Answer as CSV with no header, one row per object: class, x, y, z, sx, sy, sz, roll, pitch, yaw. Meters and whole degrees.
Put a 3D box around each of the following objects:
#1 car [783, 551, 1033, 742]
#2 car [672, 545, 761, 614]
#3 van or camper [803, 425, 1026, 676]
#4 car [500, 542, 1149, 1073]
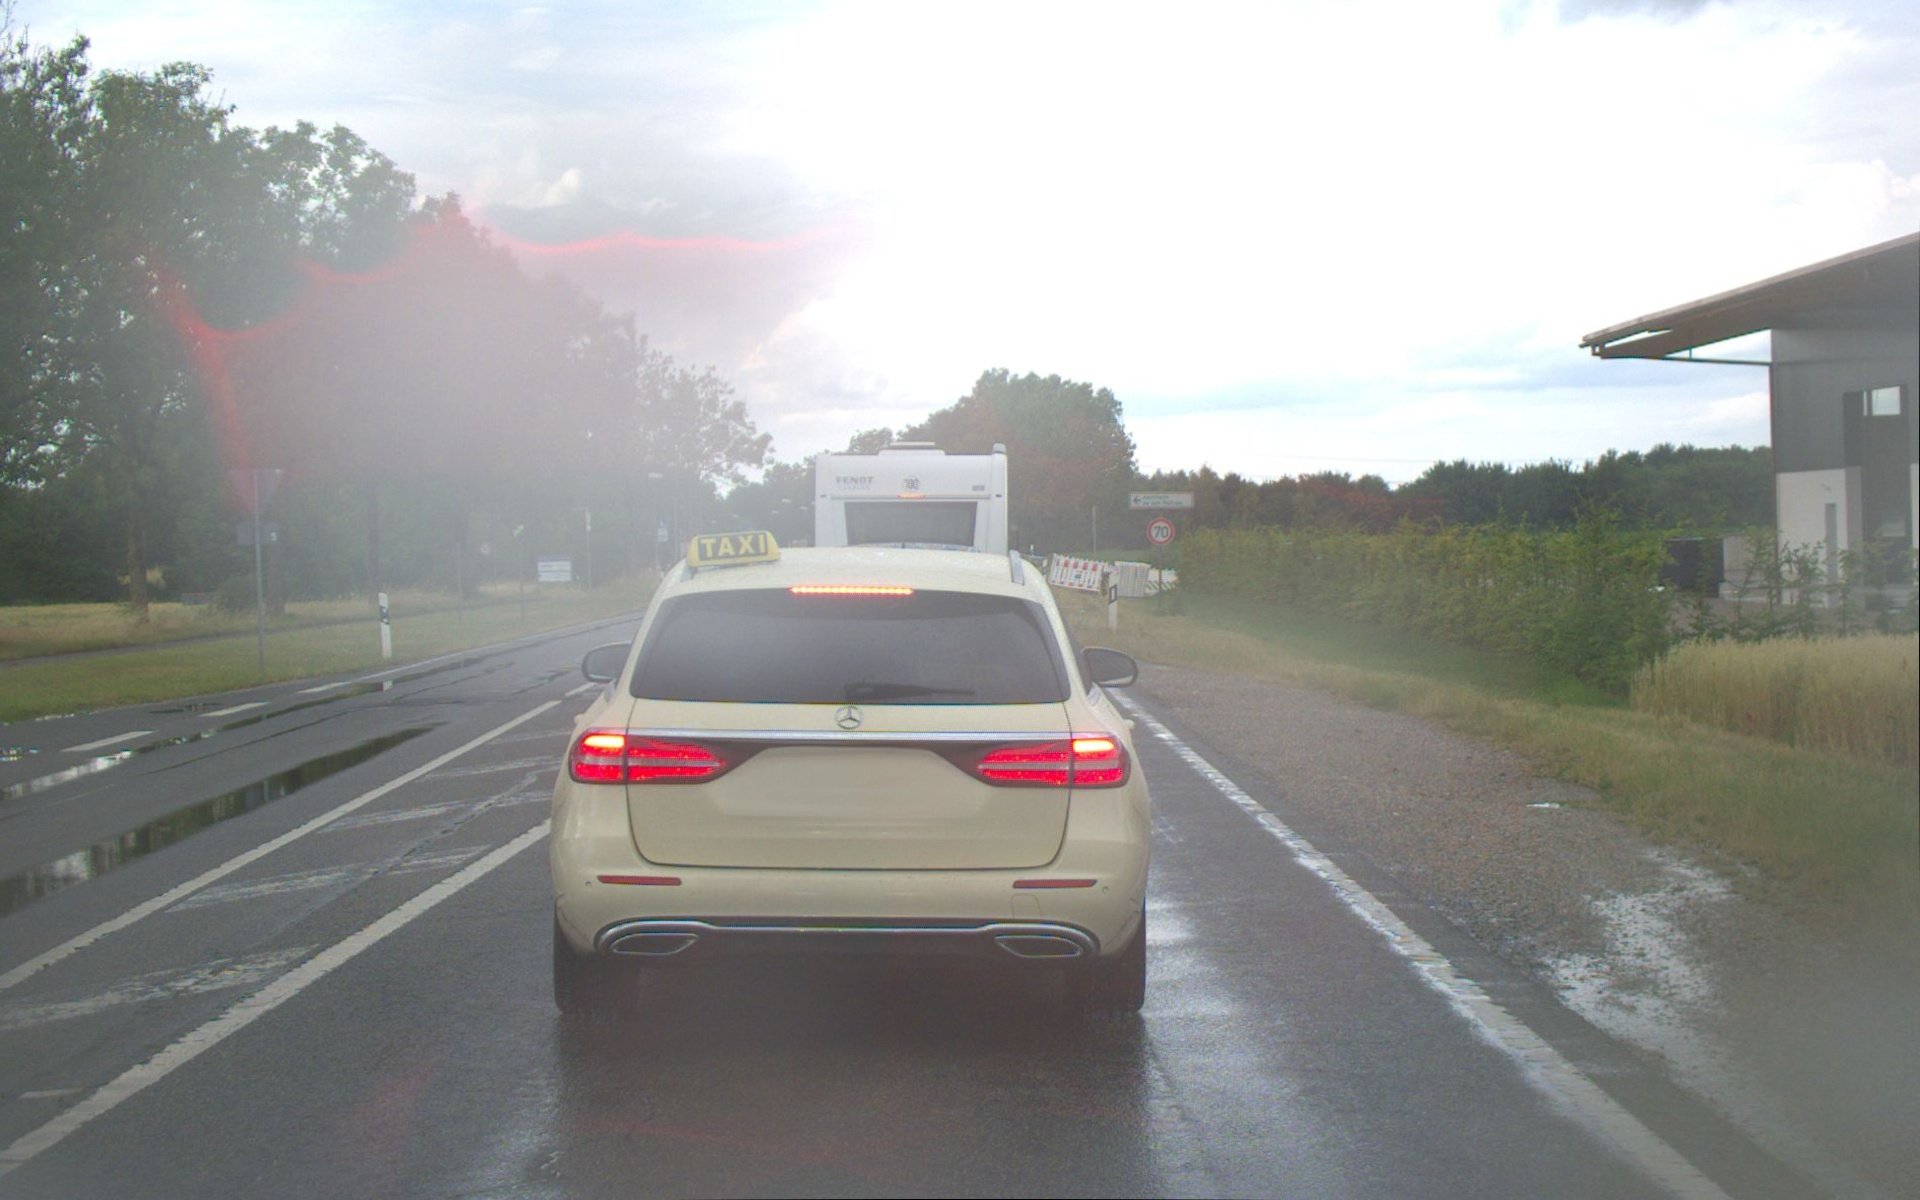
car,-0.431,0.328,28.041,1.894,1.424,3.928,0,1,-1
car,-5.982,-0.526,84.960,1.916,1.626,4.357,-1,1,-1
van or camper,-0.510,-0.622,42.870,2.497,2.821,5.934,-2,1,0
car,-0.383,0.544,11.589,1.797,1.459,4.031,0,1,0
